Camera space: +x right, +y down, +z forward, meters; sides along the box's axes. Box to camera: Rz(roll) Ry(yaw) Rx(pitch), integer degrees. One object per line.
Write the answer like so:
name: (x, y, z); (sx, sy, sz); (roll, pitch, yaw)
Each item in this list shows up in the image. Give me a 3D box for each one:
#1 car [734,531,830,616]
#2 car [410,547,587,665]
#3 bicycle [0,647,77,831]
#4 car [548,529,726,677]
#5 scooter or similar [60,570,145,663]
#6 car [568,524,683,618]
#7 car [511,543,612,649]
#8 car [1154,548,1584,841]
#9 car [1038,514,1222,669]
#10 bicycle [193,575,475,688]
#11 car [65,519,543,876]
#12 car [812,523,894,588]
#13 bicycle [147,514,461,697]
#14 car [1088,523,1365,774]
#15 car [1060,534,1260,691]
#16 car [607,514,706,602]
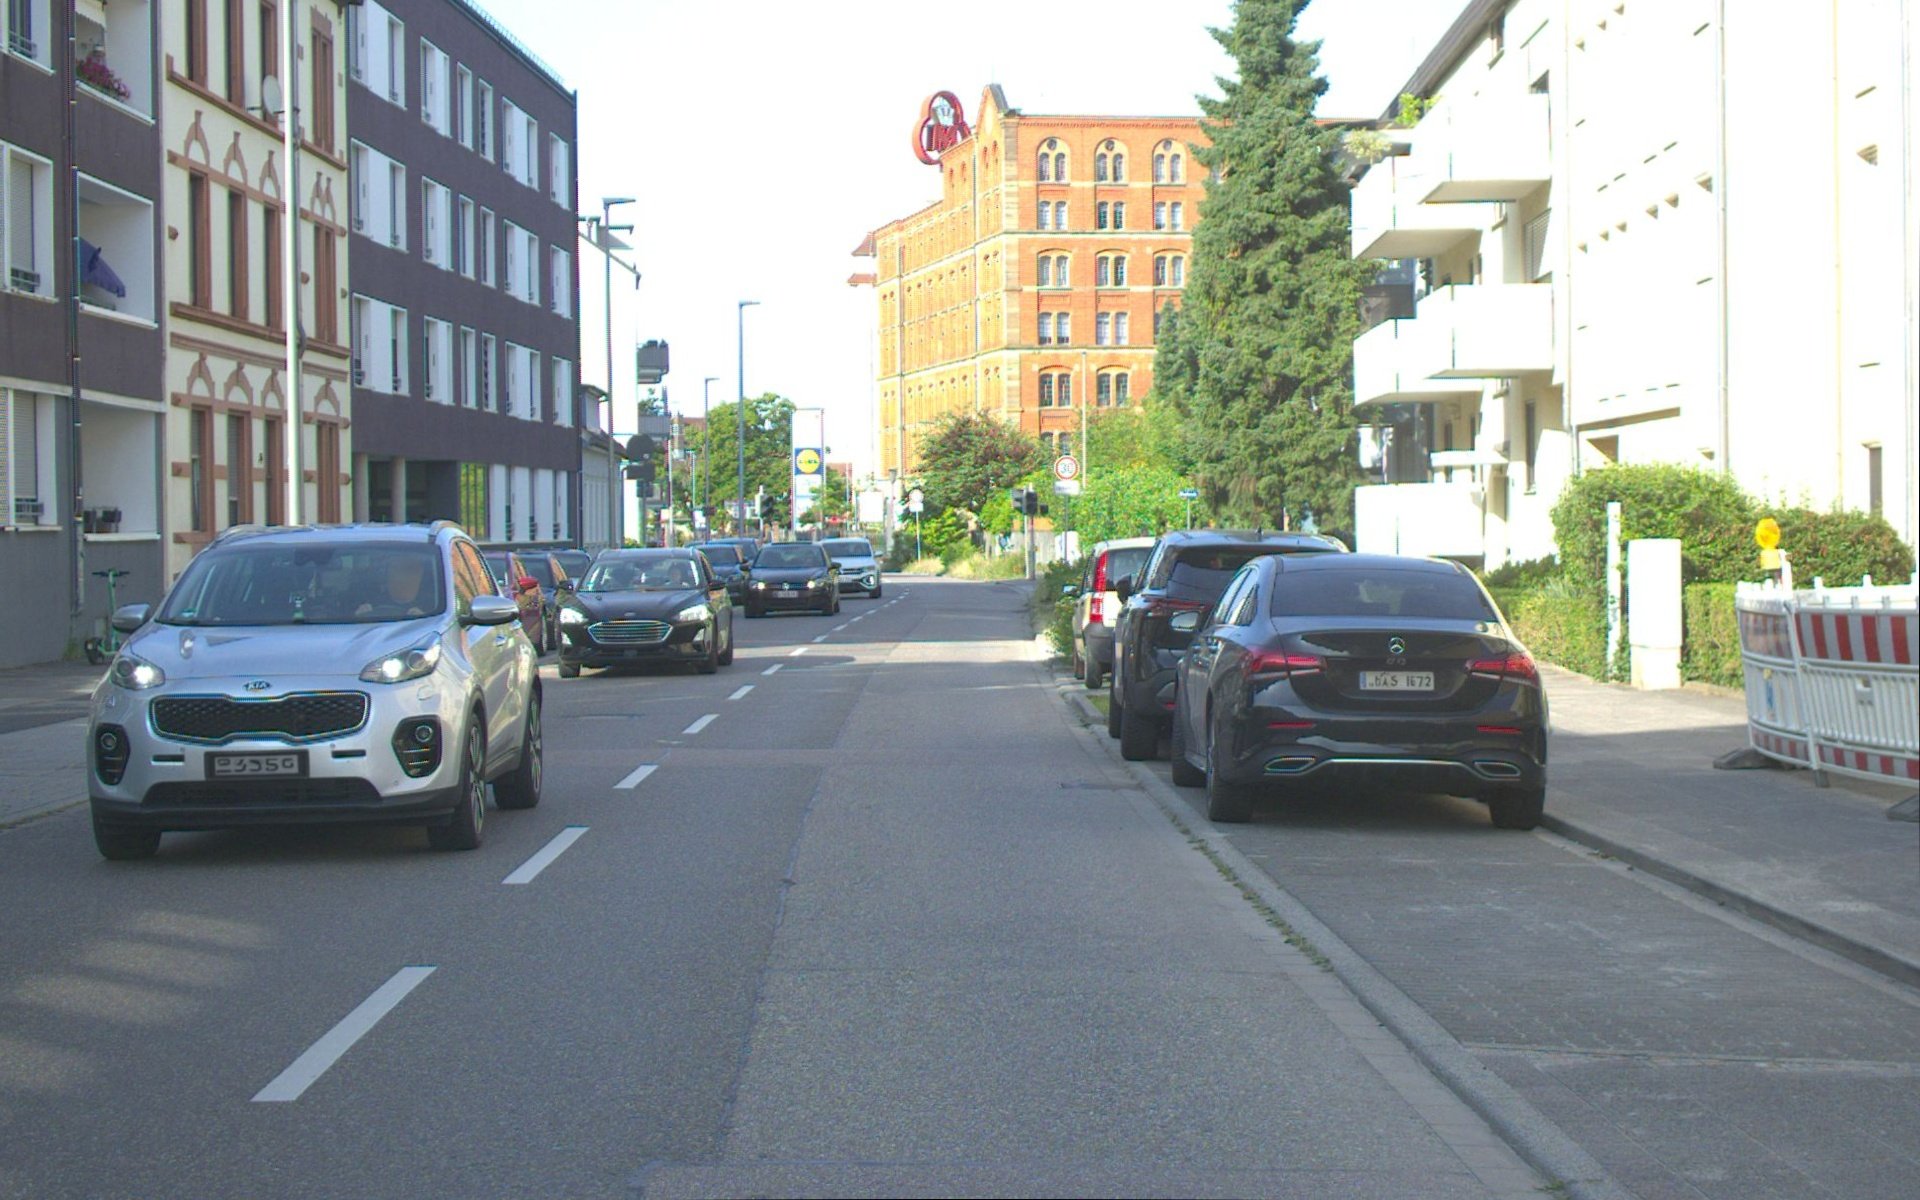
car: (-3.509, -0.544, 68.298); (1.763, 1.611, 4.000); (-1, 1, -1)
car: (-5.935, 0.048, 44.571); (1.840, 1.459, 3.585); (0, 1, -1)
bicycle: (-6.079, 0.761, 18.794); (2.339, 0.967, 0.708); (0, 1, -6)
car: (-3.735, 0.001, 40.306); (1.763, 1.611, 4.000); (-1, 1, -1)
scooter or similar: (-10.520, 0.194, 42.221); (0.633, 1.100, 1.610); (1, 1, 0)
car: (-6.832, -0.614, 70.490); (1.993, 1.875, 4.000); (0, 1, -1)
car: (-5.692, -0.090, 49.331); (1.073, 1.459, 3.585); (0, 1, -1)
car: (2.200, 0.450, 19.535); (1.859, 1.467, 4.000); (-1, 1, -1)
car: (1.993, -0.134, 41.371); (1.993, 1.766, 4.000); (0, 1, 0)
bicycle: (-6.627, 0.324, 36.518); (2.773, 1.140, 1.143); (-1, 1, 0)
car: (-3.269, 0.414, 17.868); (1.763, 1.611, 4.000); (-1, 1, -1)
car: (-2.697, -1.142, 87.611); (1.993, 1.590, 4.000); (0, 1, -1)
bicycle: (-6.603, 0.045, 34.742); (2.918, 1.771, 1.202); (-1, 1, 0)
car: (1.834, 0.294, 24.609); (1.601, 1.640, 3.685); (-1, 1, -1)
car: (2.058, 0.092, 36.334); (1.763, 1.521, 4.000); (-2, 1, -1)
car: (-7.079, -0.990, 80.604); (1.993, 2.007, 4.000); (0, 1, -1)
